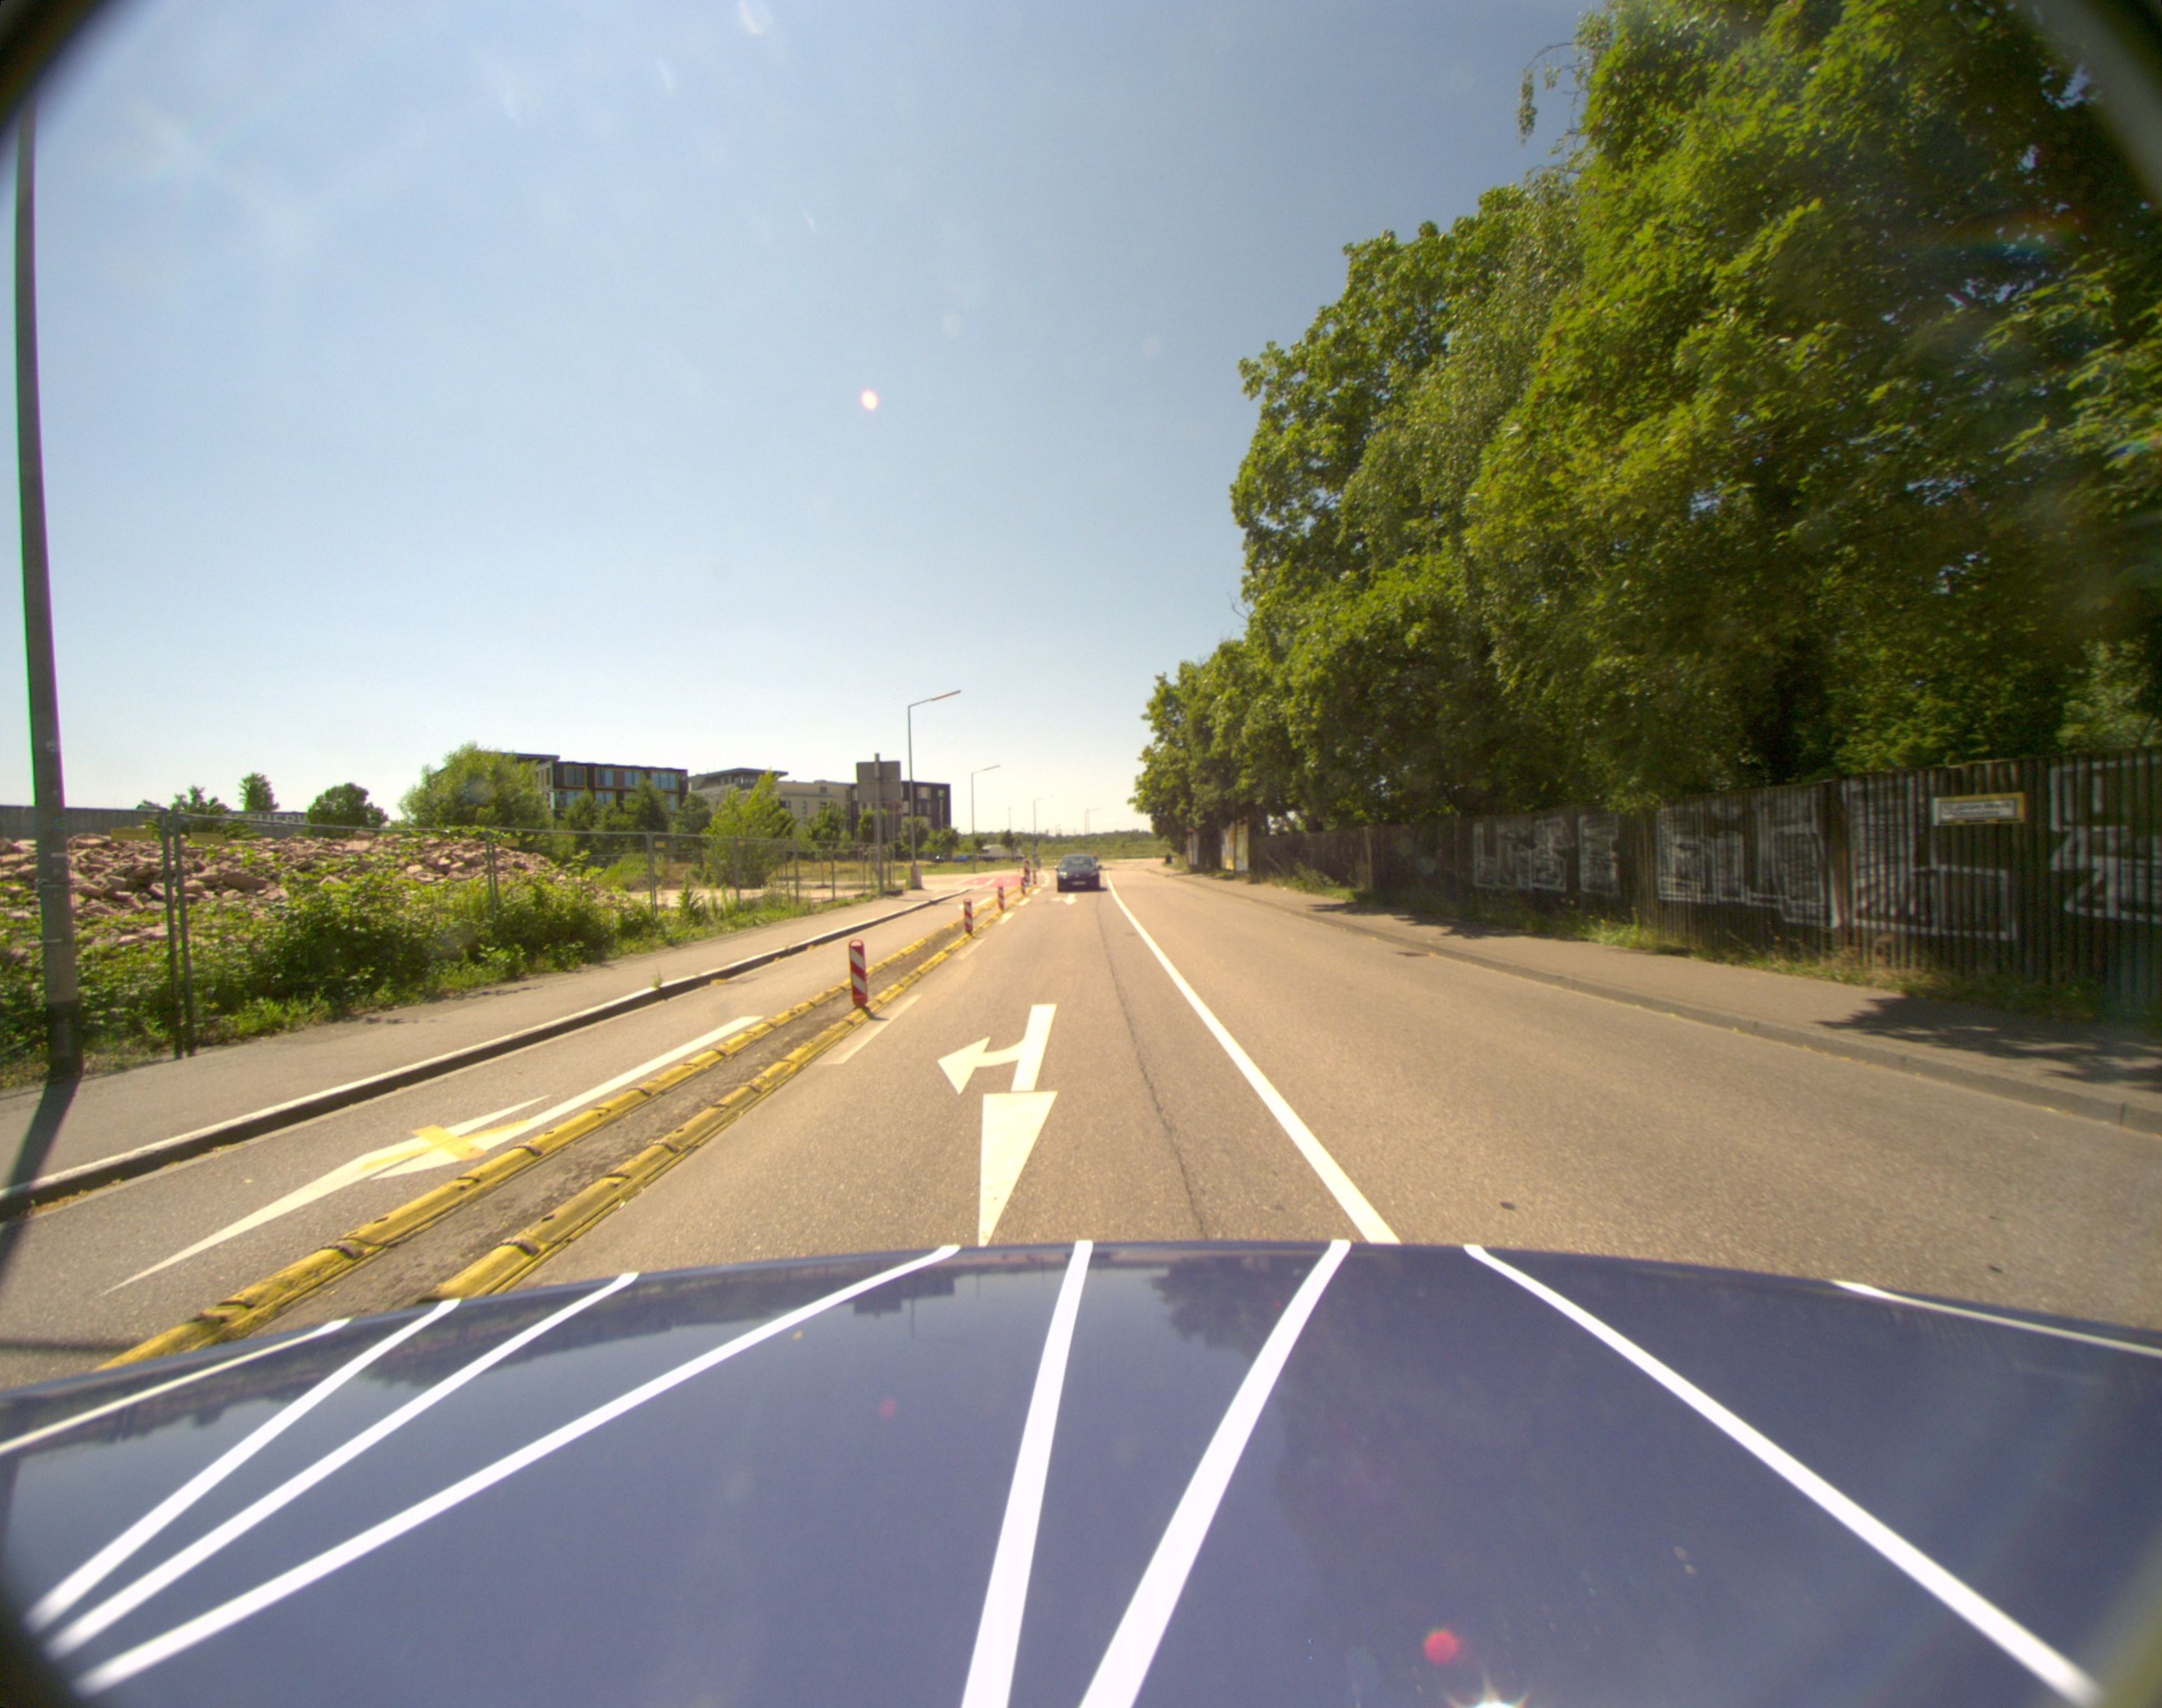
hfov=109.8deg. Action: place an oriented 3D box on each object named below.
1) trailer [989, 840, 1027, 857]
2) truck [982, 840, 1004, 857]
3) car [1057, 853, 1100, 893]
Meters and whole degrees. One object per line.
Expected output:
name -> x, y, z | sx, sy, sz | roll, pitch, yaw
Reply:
trailer -> -14.909, -1.234, 155.395 | 8.193, 3.329, 1.994 | -1, 1, -45
truck -> -17.675, -1.189, 152.665 | 4.008, 3.317, 1.994 | -2, 1, -45
car -> -0.074, 0.733, 30.890 | 1.602, 1.422, 4.000 | -2, 0, 1
